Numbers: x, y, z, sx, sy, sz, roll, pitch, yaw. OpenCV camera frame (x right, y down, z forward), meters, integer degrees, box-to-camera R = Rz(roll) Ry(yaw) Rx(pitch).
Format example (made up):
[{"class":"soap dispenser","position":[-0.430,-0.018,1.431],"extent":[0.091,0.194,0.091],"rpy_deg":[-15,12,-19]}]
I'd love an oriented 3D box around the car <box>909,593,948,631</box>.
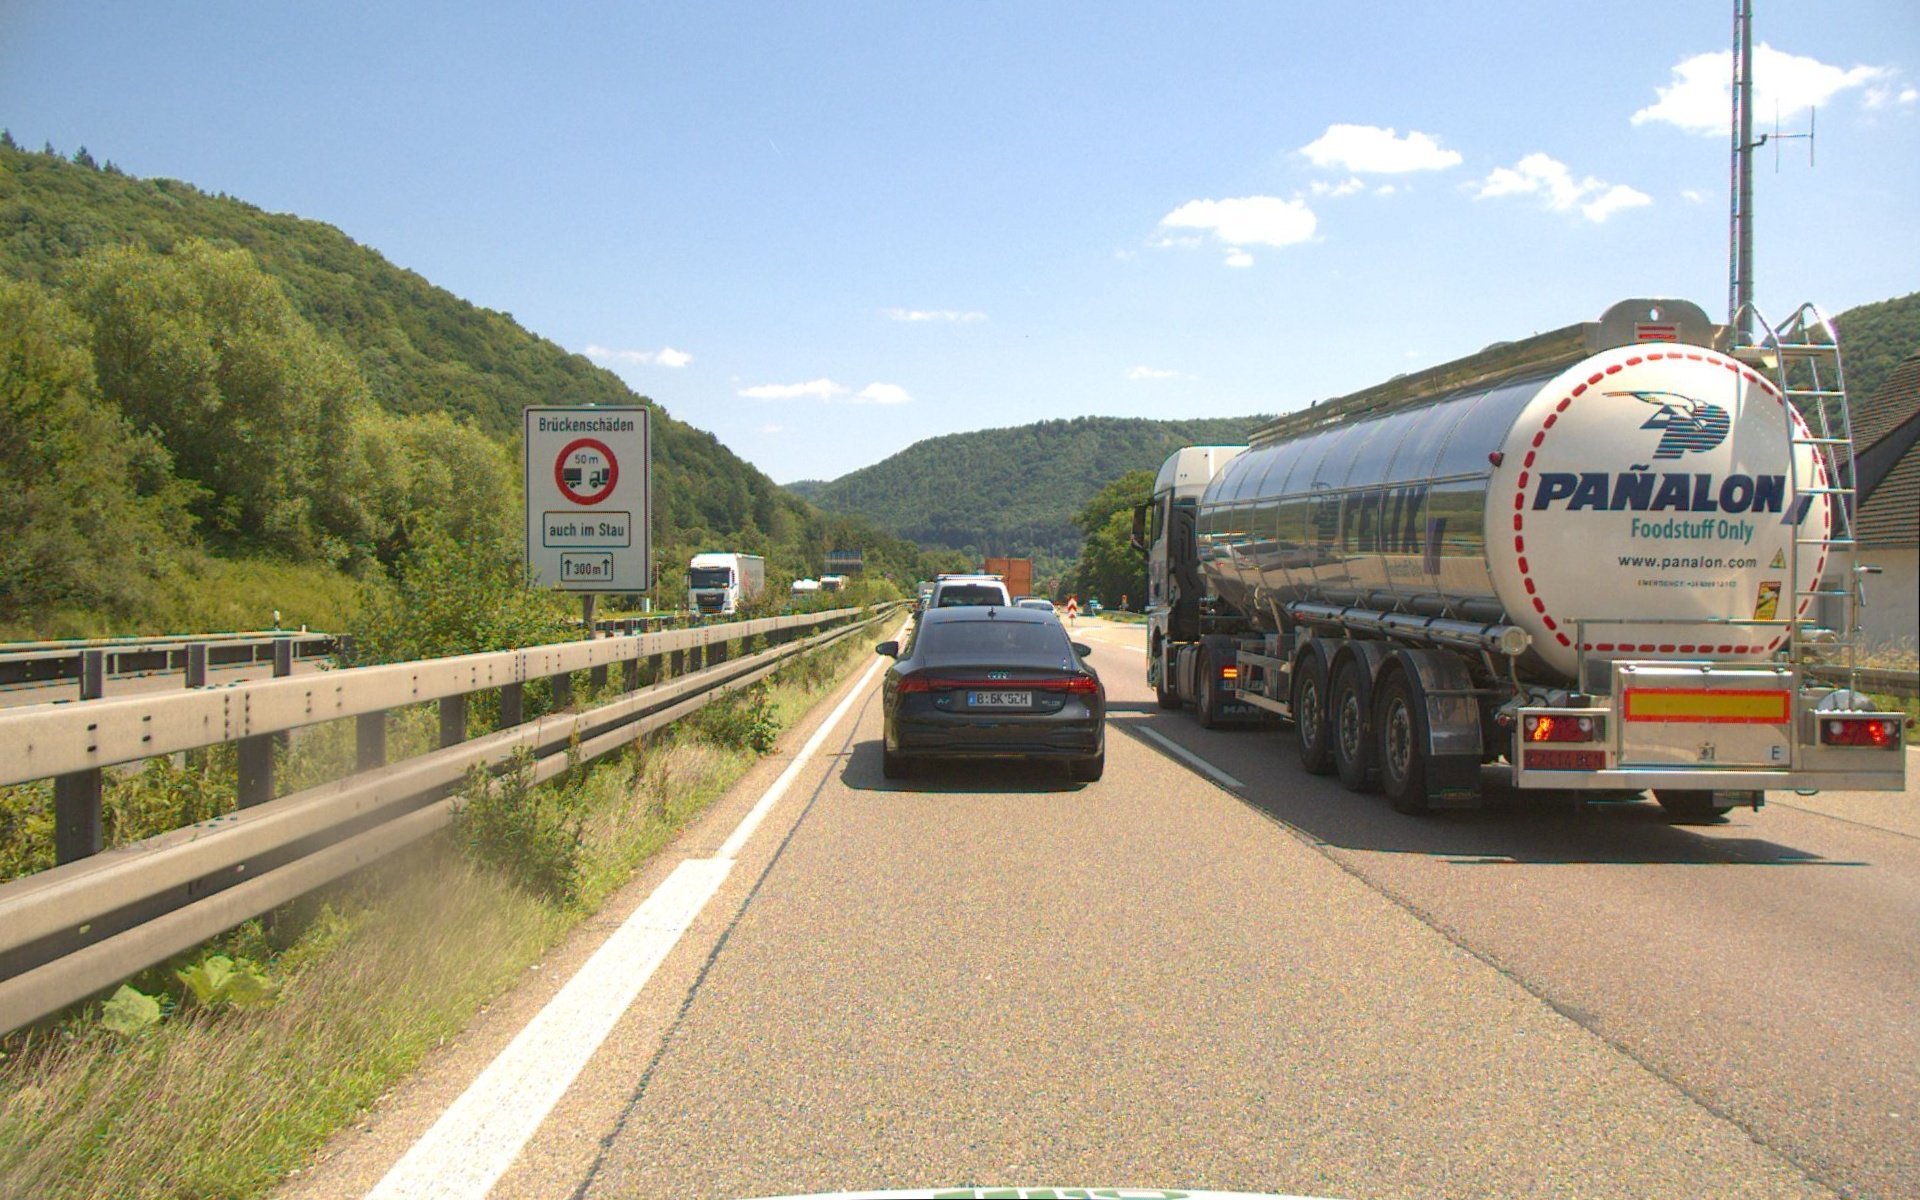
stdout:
[{"class":"car","position":[-1.397,0.524,74.269],"extent":[1.677,1.647,4.000],"rpy_deg":[0,0,0]}]

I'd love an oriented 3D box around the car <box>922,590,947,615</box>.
[{"class":"car","position":[-1.750,0.175,114.170],"extent":[1.677,1.647,4.000],"rpy_deg":[0,0,0]}]

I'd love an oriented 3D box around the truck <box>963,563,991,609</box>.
[{"class":"truck","position":[1.294,-1.067,132.882],"extent":[1.953,3.507,11.809],"rpy_deg":[1,0,-1]}]

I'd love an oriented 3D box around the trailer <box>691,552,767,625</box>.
[{"class":"trailer","position":[-13.705,-0.640,99.233],"extent":[2.726,4.070,14.156],"rpy_deg":[0,0,-1]}]

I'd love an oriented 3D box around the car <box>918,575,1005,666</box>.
[{"class":"car","position":[-0.004,0.457,39.416],"extent":[1.953,2.049,3.999],"rpy_deg":[1,0,-1]}]

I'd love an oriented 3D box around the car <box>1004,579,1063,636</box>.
[{"class":"car","position":[2.693,0.262,61.549],"extent":[1.953,2.049,3.999],"rpy_deg":[0,0,-1]}]

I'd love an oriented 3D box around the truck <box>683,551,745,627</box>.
[{"class":"truck","position":[-13.583,-0.621,91.581],"extent":[2.672,4.071,5.368],"rpy_deg":[0,0,-1]}]

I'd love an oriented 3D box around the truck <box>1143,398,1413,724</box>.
[{"class":"truck","position":[4.056,-0.461,22.199],"extent":[2.461,3.824,5.244],"rpy_deg":[1,0,-2]}]

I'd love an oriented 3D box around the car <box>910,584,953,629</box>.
[{"class":"car","position":[-1.352,0.312,77.891],"extent":[1.953,2.049,3.999],"rpy_deg":[0,0,-2]}]

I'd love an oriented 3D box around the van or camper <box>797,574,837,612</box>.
[{"class":"van or camper","position":[-13.269,-0.658,153.714],"extent":[2.535,3.394,7.652],"rpy_deg":[0,0,4]}]

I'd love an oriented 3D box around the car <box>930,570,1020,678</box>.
[{"class":"car","position":[0.230,0.408,30.788],"extent":[1.544,1.865,3.999],"rpy_deg":[1,0,-1]}]

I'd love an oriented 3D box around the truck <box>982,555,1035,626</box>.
[{"class":"truck","position":[2.895,-0.544,102.927],"extent":[2.760,4.073,14.954],"rpy_deg":[1,0,0]}]

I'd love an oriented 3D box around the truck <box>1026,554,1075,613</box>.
[{"class":"truck","position":[6.589,-1.186,122.464],"extent":[2.760,4.073,14.954],"rpy_deg":[1,0,0]}]

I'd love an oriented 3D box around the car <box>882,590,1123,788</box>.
[{"class":"car","position":[0.235,0.682,14.742],"extent":[1.813,1.514,4.080],"rpy_deg":[1,0,-3]}]

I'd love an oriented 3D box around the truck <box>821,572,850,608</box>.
[{"class":"truck","position":[-14.560,-1.114,193.915],"extent":[2.811,4.076,10.168],"rpy_deg":[1,0,-1]}]

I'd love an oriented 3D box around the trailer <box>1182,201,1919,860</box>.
[{"class":"trailer","position":[4.297,-0.406,15.546],"extent":[2.487,3.801,11.887],"rpy_deg":[1,0,-2]}]

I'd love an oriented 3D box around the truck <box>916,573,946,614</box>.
[{"class":"truck","position":[-2.531,-0.553,149.265],"extent":[2.575,3.501,11.419],"rpy_deg":[0,0,-1]}]

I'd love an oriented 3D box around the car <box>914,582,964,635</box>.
[{"class":"car","position":[-0.875,0.335,67.260],"extent":[1.953,2.049,3.999],"rpy_deg":[0,0,-2]}]

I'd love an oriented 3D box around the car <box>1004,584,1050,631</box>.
[{"class":"car","position":[3.006,0.334,75.091],"extent":[1.953,2.038,4.000],"rpy_deg":[0,0,0]}]
